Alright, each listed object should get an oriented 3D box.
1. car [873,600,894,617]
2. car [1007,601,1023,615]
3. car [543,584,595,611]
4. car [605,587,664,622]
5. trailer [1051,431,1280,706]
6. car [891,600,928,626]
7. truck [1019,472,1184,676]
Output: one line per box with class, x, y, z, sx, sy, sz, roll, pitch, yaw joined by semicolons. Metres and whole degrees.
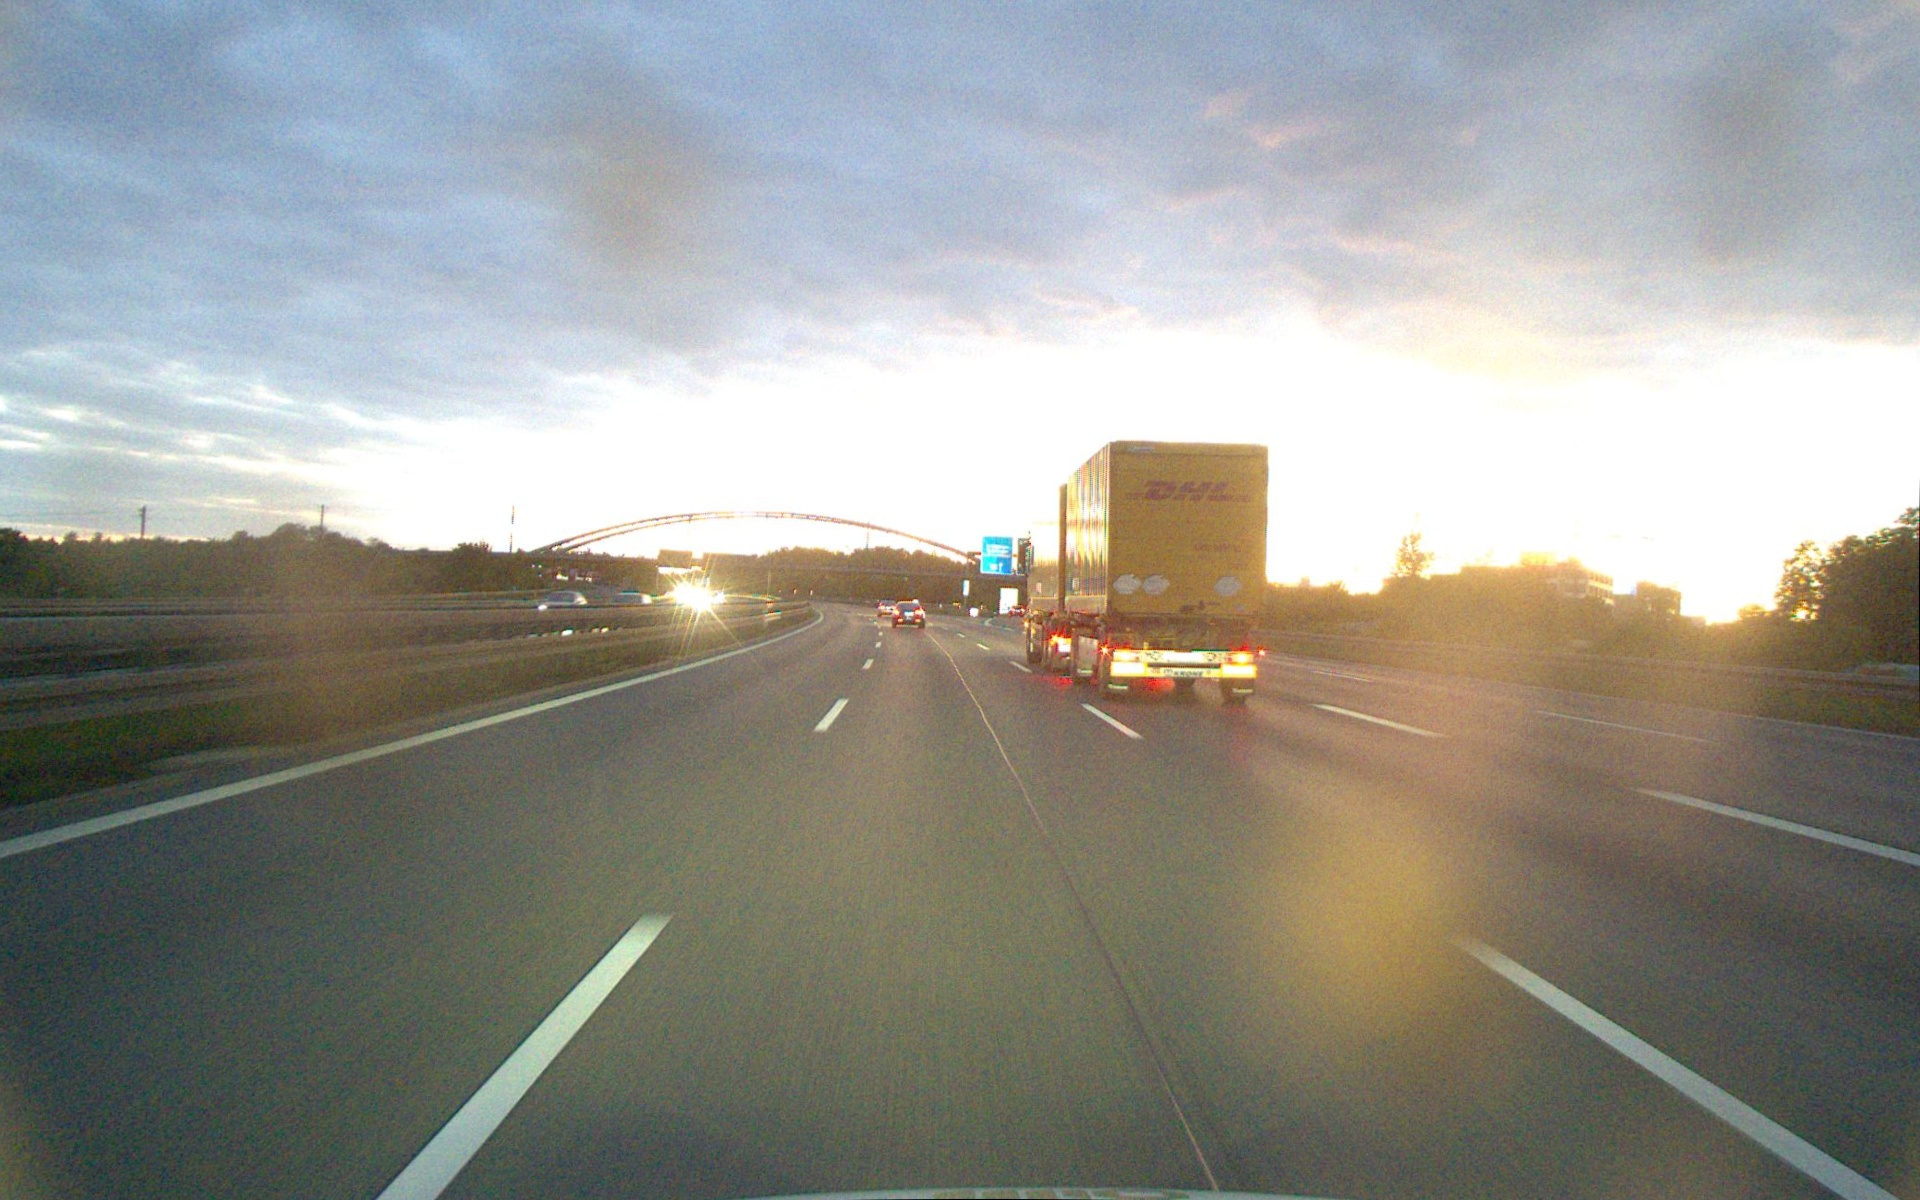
car;-6.856;0.803;148.047;1.655;1.426;3.408;1;-2;0
car;7.212;1.086;217.572;1.952;1.747;4.001;2;-2;3
car;-19.406;-0.150;82.171;1.687;1.248;4.182;1;0;-2
car;-14.288;0.189;72.849;1.954;1.428;4.327;1;0;-3
trailer;3.399;-0.512;29.765;2.667;4.142;8.828;1;0;-2
car;-2.863;0.740;92.946;1.658;1.426;3.402;2;-1;-8
truck;3.106;-0.577;39.448;2.636;4.142;10.516;1;0;-2
